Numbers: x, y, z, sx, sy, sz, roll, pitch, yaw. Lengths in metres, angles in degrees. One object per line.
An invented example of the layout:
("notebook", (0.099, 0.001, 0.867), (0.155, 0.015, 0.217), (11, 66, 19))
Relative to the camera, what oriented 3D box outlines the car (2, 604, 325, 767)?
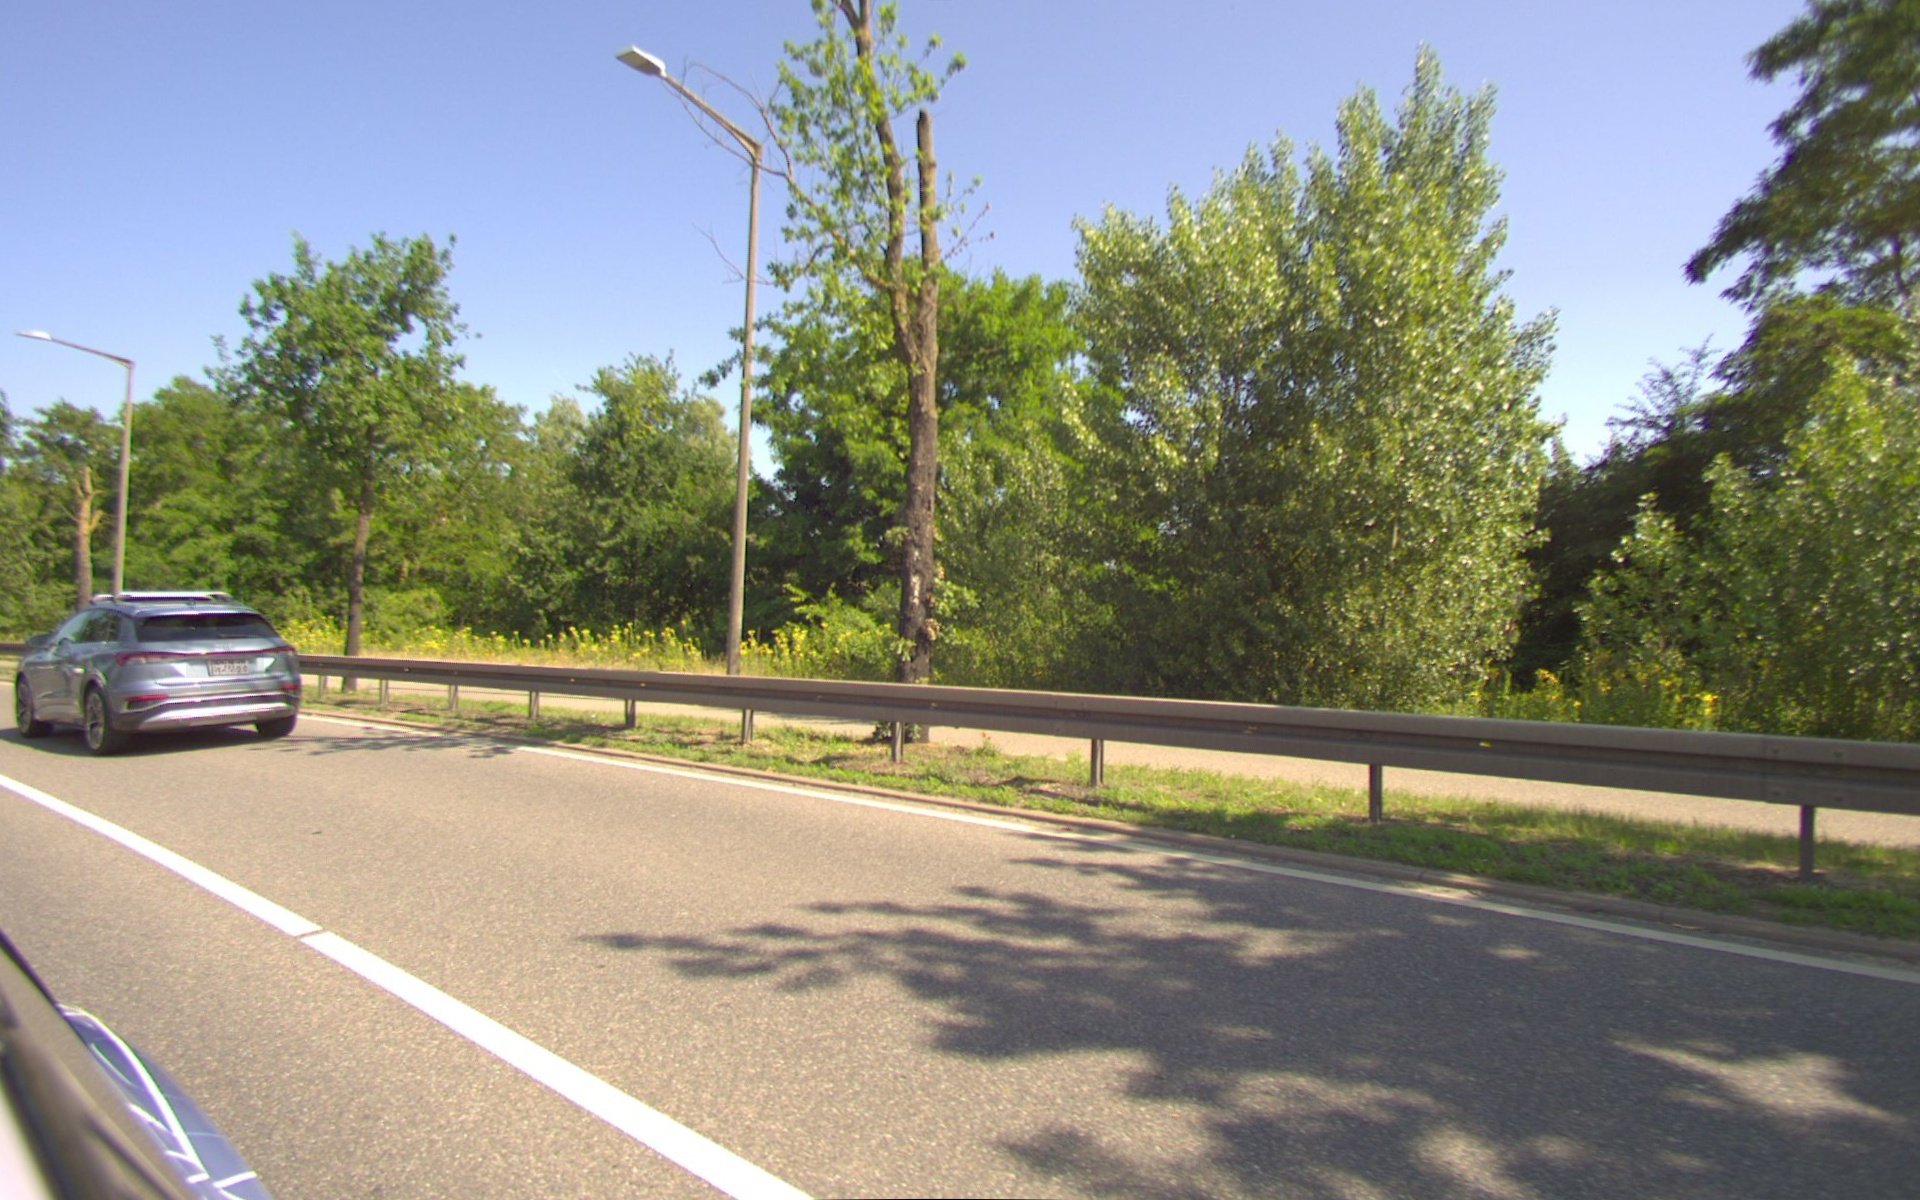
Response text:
("car", (-9.351, 0.868, 11.794), (4.109, 1.545, 1.913), (-1, 0, 36))
